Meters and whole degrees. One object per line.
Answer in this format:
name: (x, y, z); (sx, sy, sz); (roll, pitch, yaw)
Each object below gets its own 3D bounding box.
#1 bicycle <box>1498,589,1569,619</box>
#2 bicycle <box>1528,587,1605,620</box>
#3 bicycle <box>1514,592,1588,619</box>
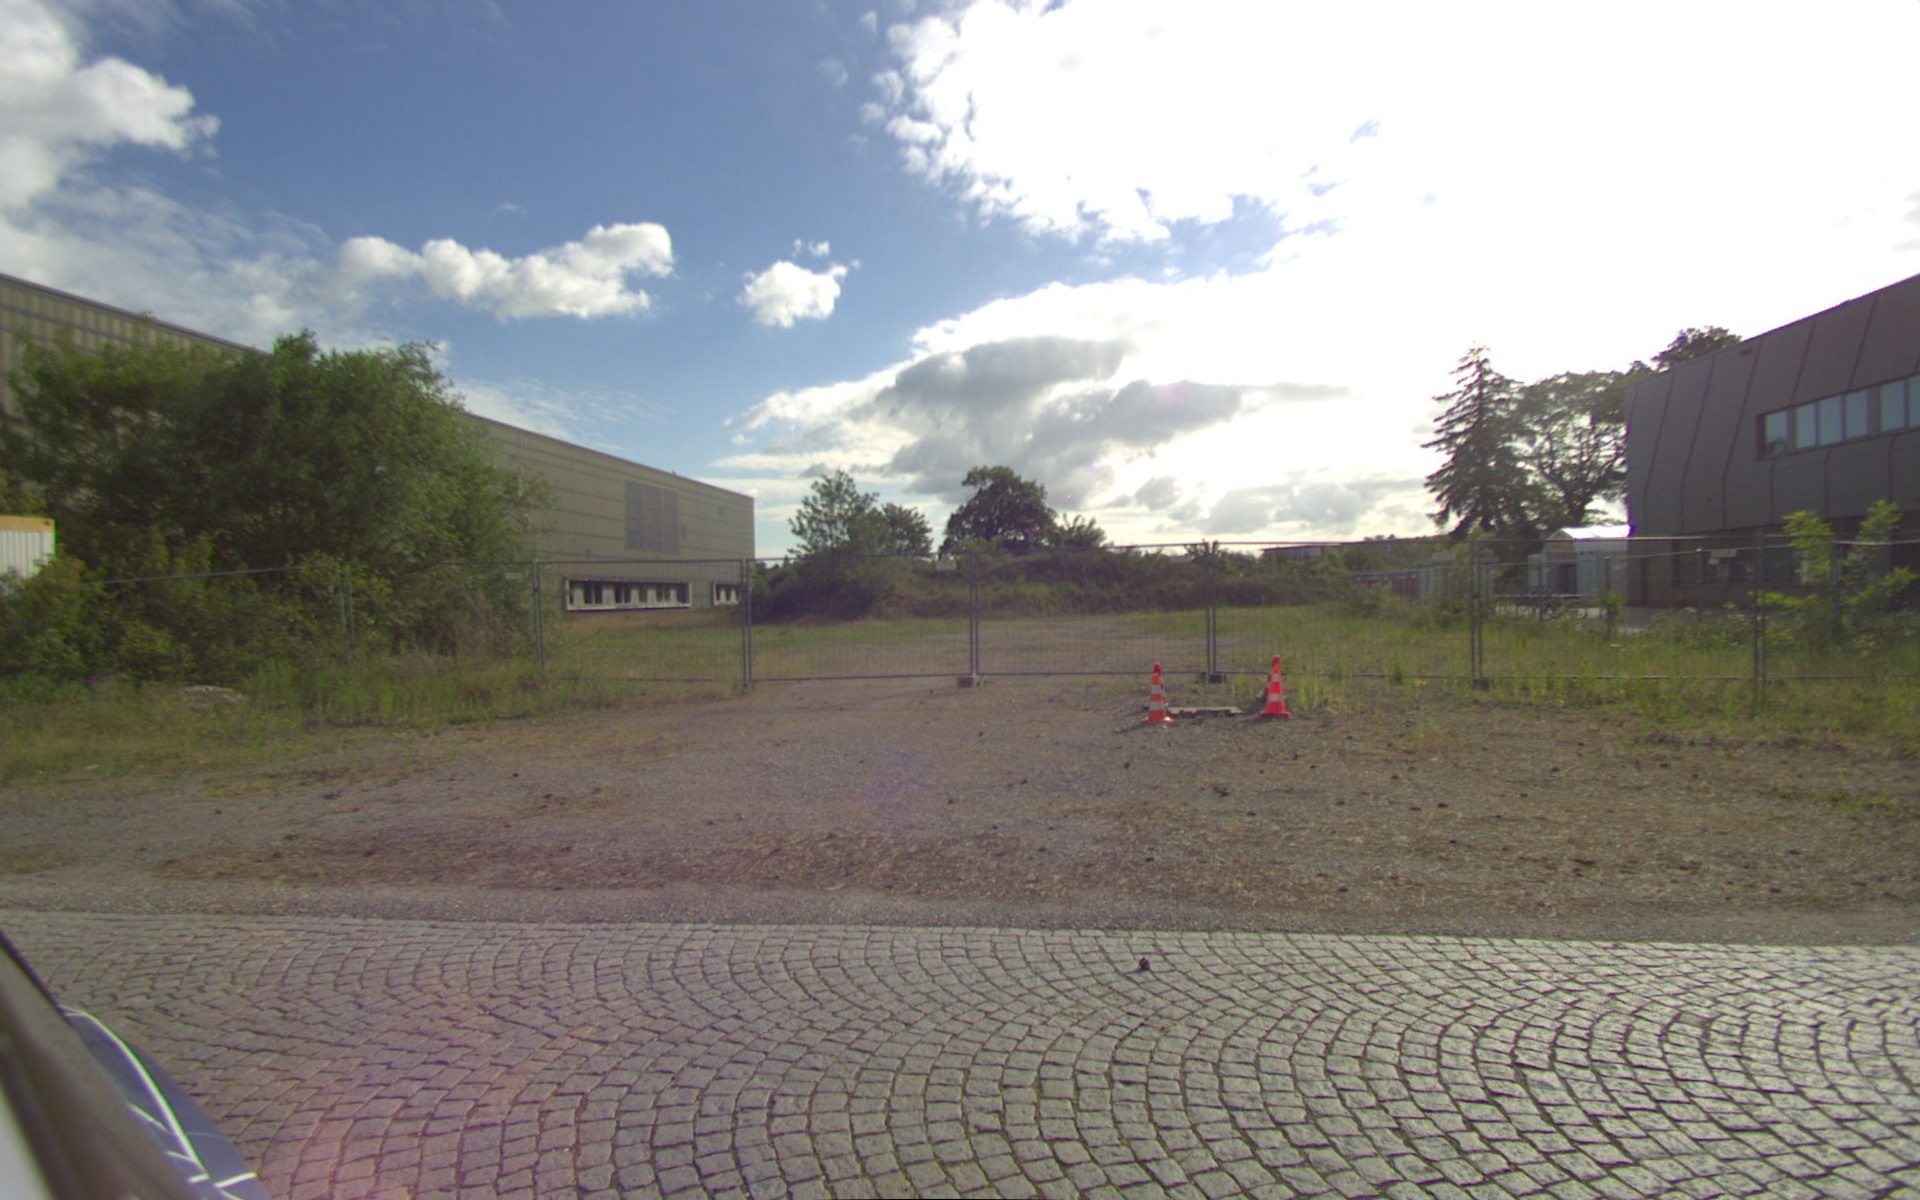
bicycle: (21.239, 0.135, 37.501); (2.043, 1.052, 0.944); (-2, 0, 5)
bicycle: (21.097, 0.125, 35.246); (2.043, 1.095, 0.944); (-2, 0, 5)
bicycle: (21.289, 0.200, 36.482); (2.043, 0.928, 0.944); (-2, 0, 5)
